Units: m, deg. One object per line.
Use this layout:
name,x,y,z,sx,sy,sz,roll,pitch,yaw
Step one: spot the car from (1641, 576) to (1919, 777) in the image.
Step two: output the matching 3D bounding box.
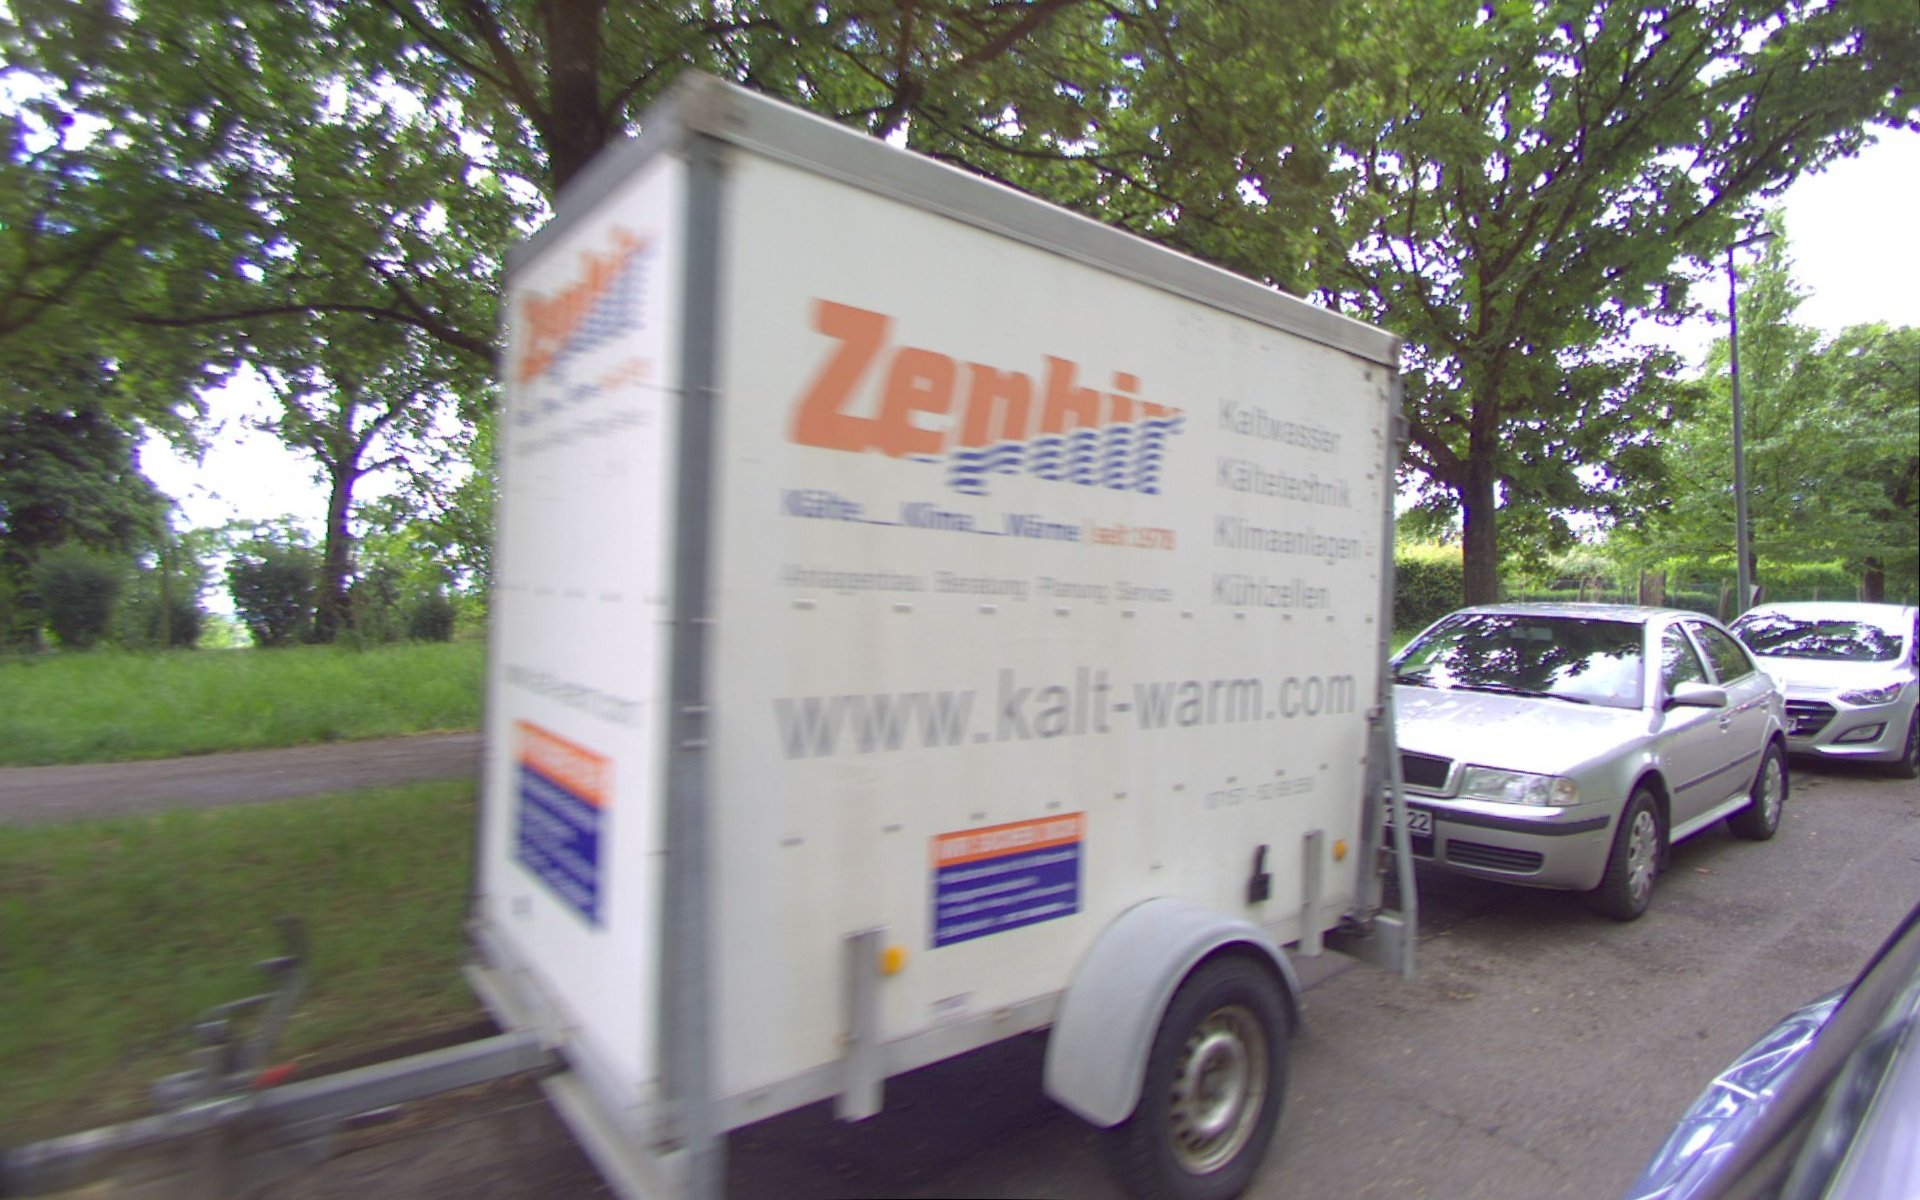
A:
car,8.535,0.574,9.904,3.985,1.495,1.907,-3,1,-37

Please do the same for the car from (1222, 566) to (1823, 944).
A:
car,3.714,0.584,6.263,4.553,1.544,1.745,-1,2,-40

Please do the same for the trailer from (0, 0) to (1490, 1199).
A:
trailer,-0.288,0.204,2.749,3.819,2.457,1.764,-1,1,-40
